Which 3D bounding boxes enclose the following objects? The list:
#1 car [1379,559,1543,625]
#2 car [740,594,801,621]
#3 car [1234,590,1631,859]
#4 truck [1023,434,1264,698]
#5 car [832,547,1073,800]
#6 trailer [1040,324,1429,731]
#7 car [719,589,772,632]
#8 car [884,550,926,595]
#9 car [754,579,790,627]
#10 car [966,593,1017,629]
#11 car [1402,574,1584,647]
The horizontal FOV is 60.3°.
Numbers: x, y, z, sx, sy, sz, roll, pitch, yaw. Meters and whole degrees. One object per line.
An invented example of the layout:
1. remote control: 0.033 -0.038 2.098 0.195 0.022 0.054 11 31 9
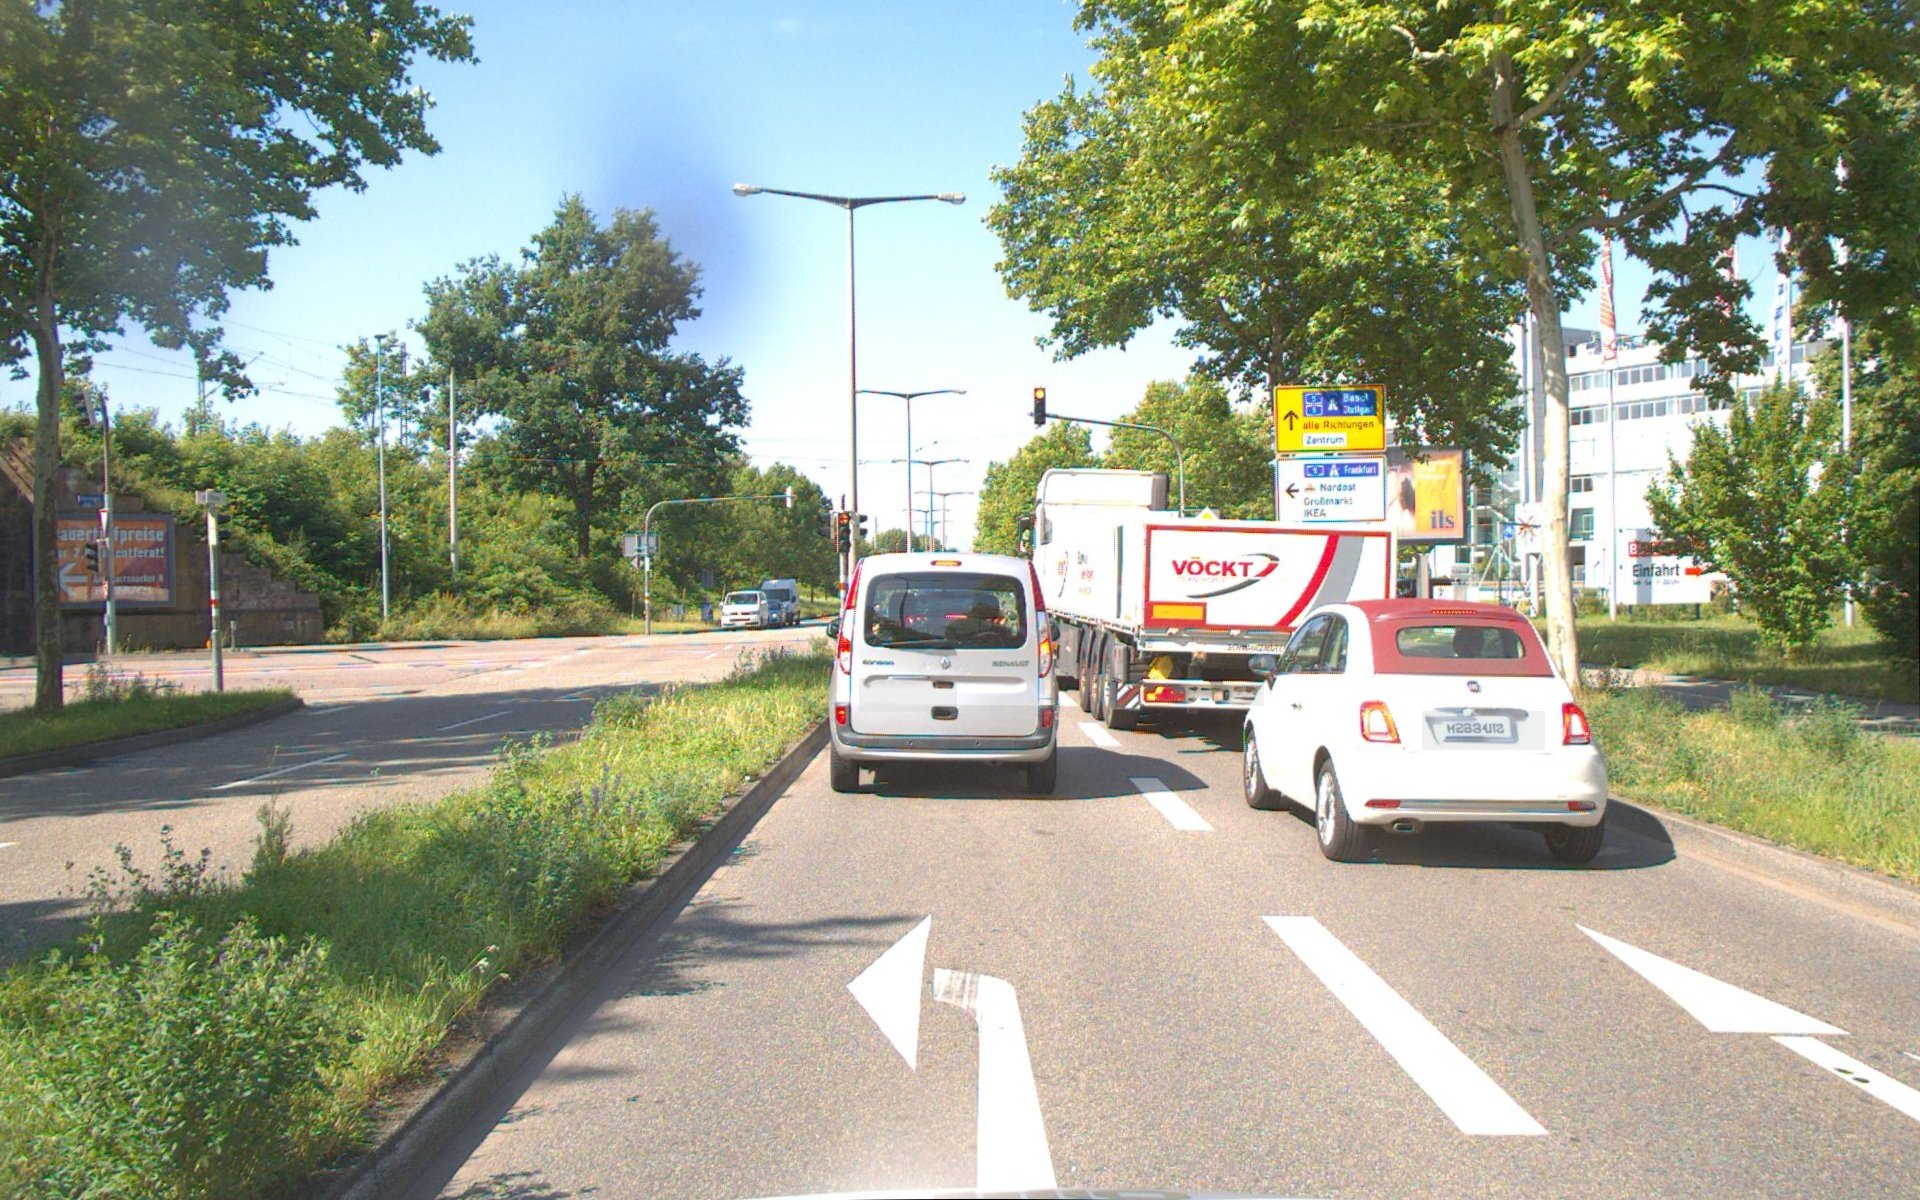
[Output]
1. car: 13.249 -0.202 43.921 3.903 1.691 1.724 0 0 4
2. car: -10.071 0.390 87.671 1.889 1.433 4.189 0 0 -27
3. car: 2.883 0.686 10.836 1.627 1.461 3.520 0 0 1
4. truck: 2.826 -0.489 27.843 3.009 3.823 7.473 0 0 -2
5. car: -0.092 0.529 13.832 1.714 1.803 3.948 0 0 -1
6. trailer: 2.881 -0.670 21.683 2.954 3.806 12.238 0 0 -1
7. car: -10.304 0.493 79.707 1.953 1.924 4.986 -3 0 -2
8. car: -2.590 -1.260 77.371 1.681 2.049 3.995 0 0 -6
9. car: -10.845 0.162 95.317 2.019 2.660 5.861 0 0 -7
10. car: 1.454 0.501 78.121 1.955 1.668 3.995 0 0 -6
11. car: 12.847 0.244 40.041 3.903 1.691 1.724 0 0 4
